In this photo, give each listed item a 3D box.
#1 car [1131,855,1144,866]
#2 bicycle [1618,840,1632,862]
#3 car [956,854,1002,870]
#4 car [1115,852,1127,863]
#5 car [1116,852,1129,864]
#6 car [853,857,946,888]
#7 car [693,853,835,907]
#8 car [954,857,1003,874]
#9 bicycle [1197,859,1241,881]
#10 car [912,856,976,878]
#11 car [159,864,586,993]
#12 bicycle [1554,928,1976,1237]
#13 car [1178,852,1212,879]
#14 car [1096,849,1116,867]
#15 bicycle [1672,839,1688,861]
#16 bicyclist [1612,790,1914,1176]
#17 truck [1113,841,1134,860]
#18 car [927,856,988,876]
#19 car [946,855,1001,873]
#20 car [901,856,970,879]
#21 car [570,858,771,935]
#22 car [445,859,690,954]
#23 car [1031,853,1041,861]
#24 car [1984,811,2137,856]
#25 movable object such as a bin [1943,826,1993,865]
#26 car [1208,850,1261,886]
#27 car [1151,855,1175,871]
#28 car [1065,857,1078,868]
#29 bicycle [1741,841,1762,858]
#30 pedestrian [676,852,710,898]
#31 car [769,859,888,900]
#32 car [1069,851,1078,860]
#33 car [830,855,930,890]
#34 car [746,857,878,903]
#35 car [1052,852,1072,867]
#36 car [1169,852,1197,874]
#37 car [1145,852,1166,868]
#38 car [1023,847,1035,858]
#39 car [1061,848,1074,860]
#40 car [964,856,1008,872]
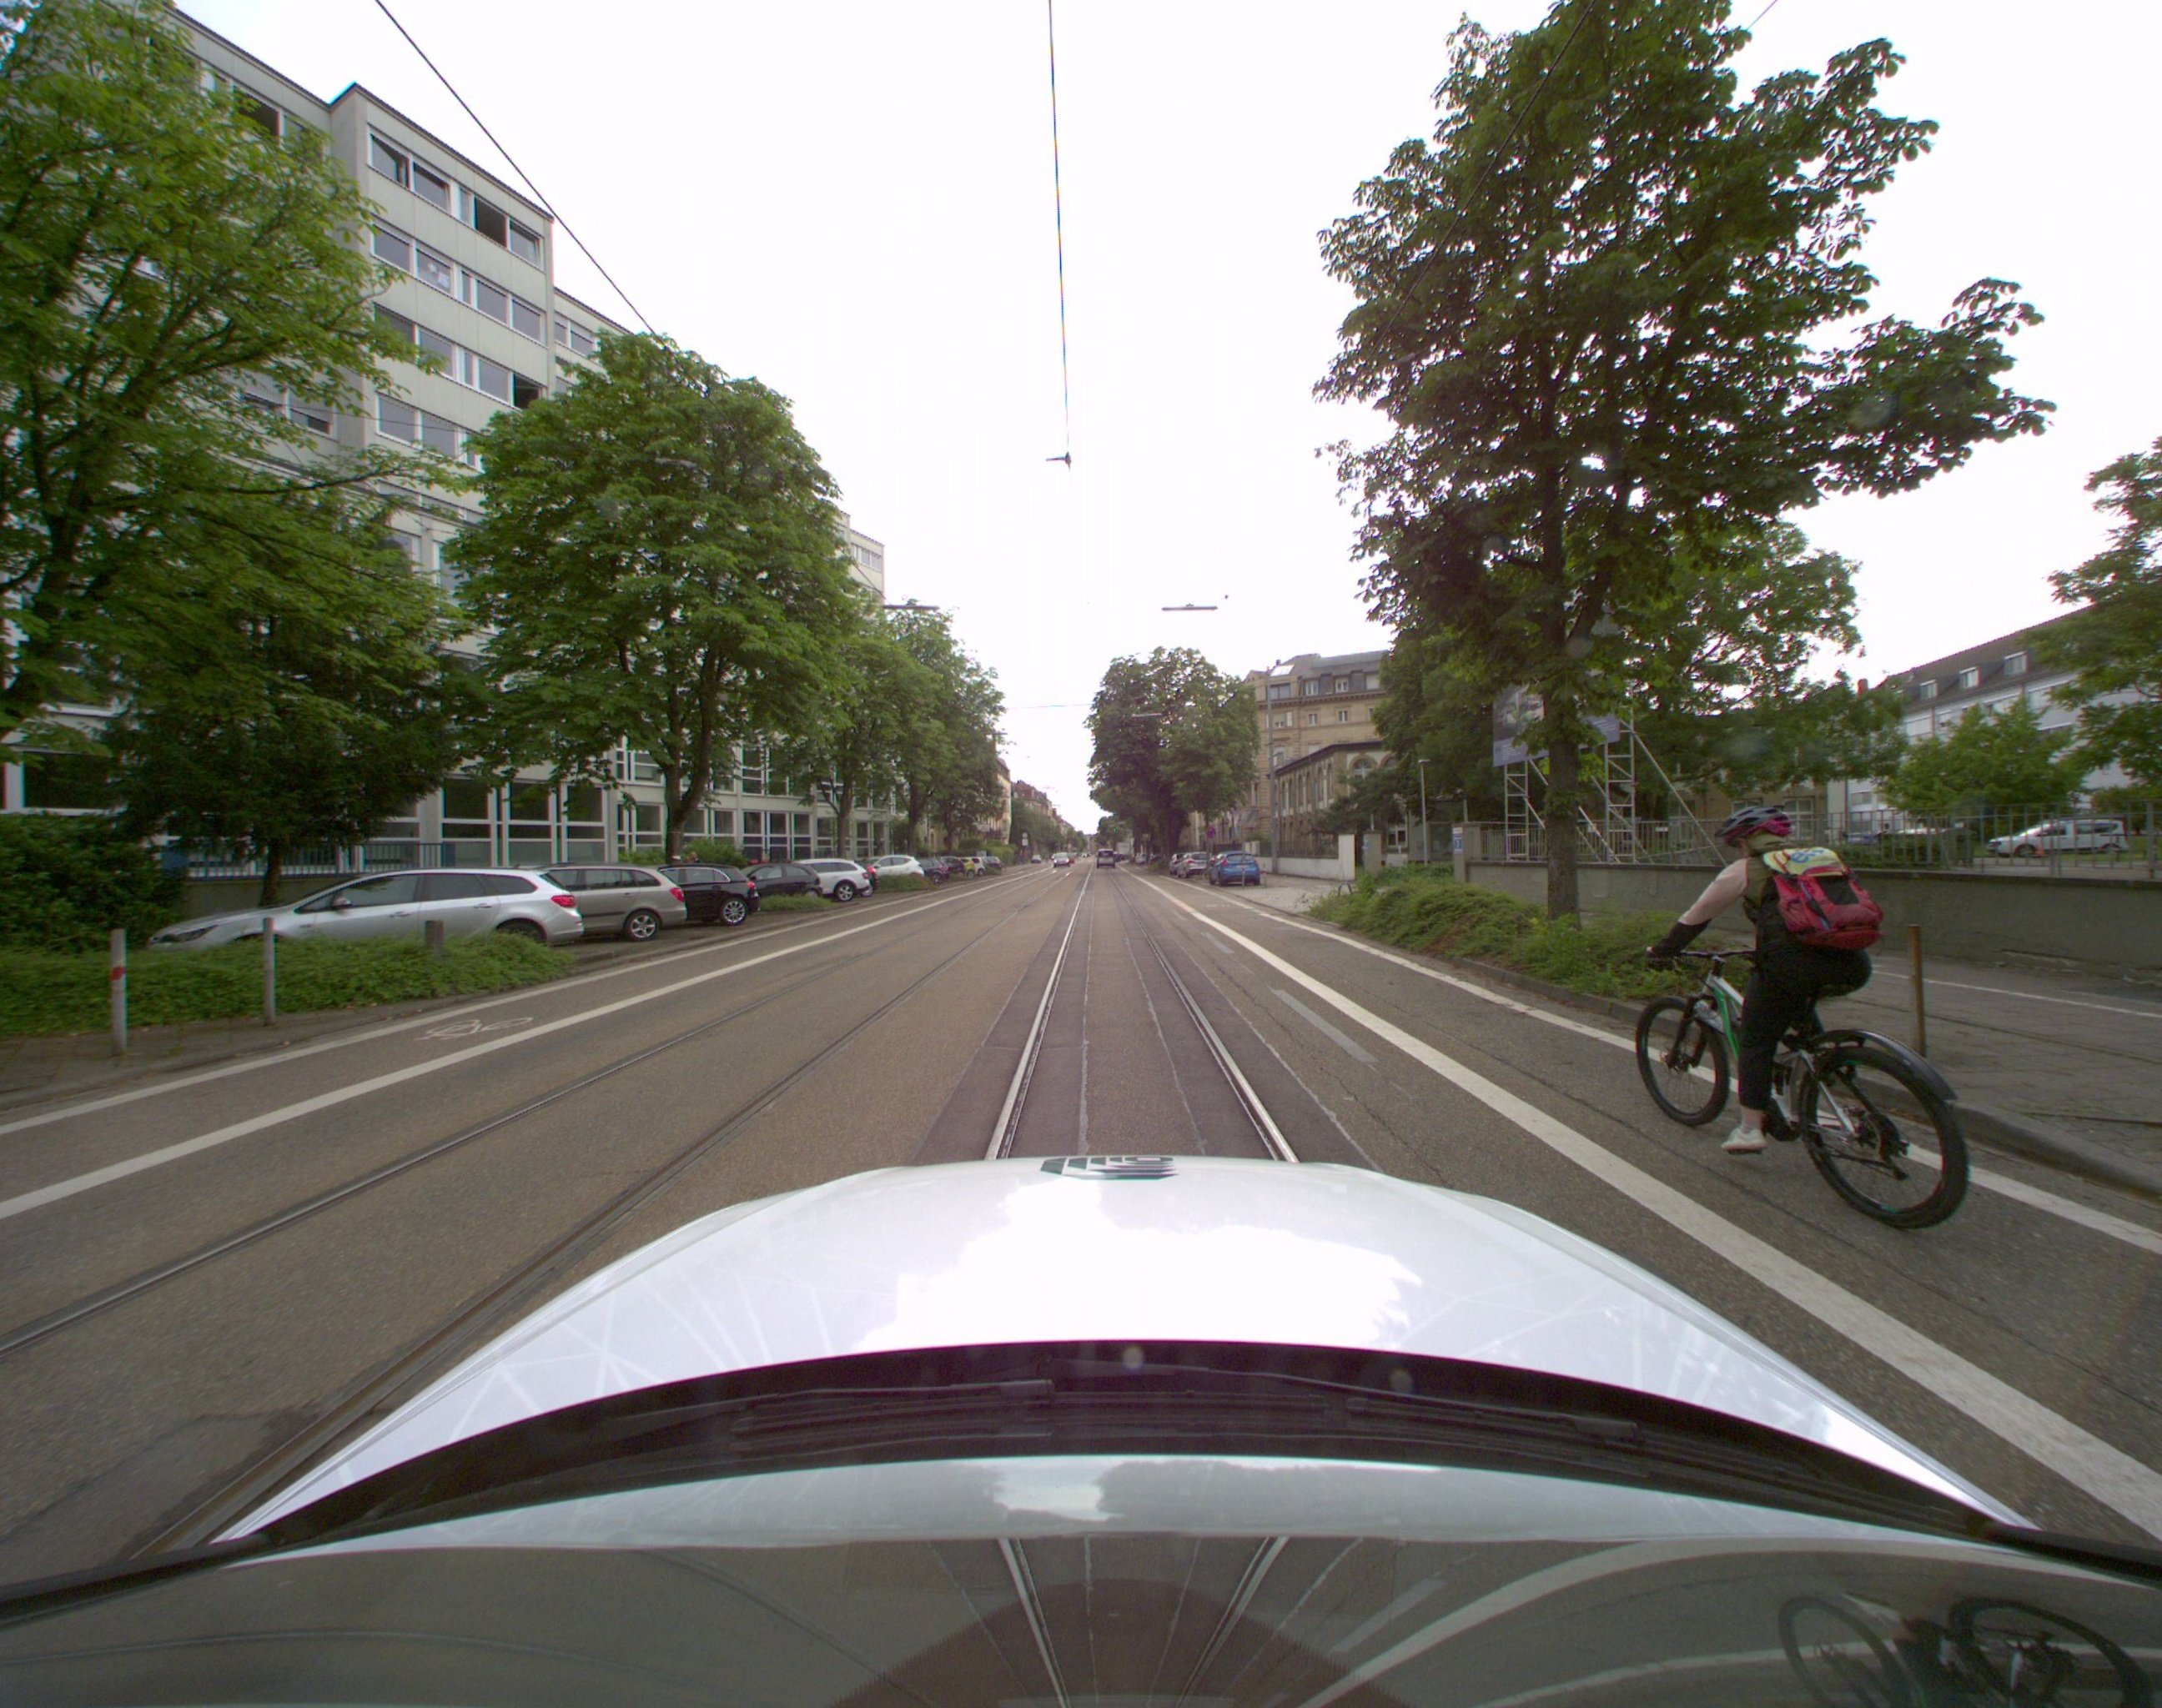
[{"bbox_3d":[7.961,0.918,115.504,1.762,1.399,3.798,-2,0,3],"label":"car"},{"bbox_3d":[29.482,-0.187,44.126,0.611,1.119,2.236,-2,0,34],"label":"bicycle"},{"bbox_3d":[-8.913,0.709,71.113,3.724,1.386,1.687,0,0,-23],"label":"car"},{"bbox_3d":[7.471,0.644,151.005,1.987,2.013,3.999,-1,0,-1],"label":"car"},{"bbox_3d":[6.575,0.610,129.250,1.986,1.794,4.003,-2,0,2],"label":"car"},{"bbox_3d":[-9.158,0.887,41.291,4.371,1.454,1.679,0,0,-45],"label":"car"},{"bbox_3d":[-9.683,0.746,25.007,3.727,1.524,1.679,0,0,-43],"label":"car"},{"bbox_3d":[-8.600,0.935,68.262,3.724,1.386,1.687,0,0,-23],"label":"car"},{"bbox_3d":[6.681,0.777,39.417,2.007,0.957,0.533,-2,0,-3],"label":"bicycle"},{"bbox_3d":[-9.101,0.831,54.429,3.991,1.351,1.679,0,0,-45],"label":"car"},{"bbox_3d":[-9.976,0.905,11.800,1.781,1.465,4.459,-1,-1,42],"label":"car"},{"bbox_3d":[3.200,0.965,4.130,0.487,0.979,2.059,0,0,3],"label":"bicycle"},{"bbox_3d":[6.498,0.610,46.619,1.470,1.481,3.566,-1,0,1],"label":"car"},{"bbox_3d":[2.486,0.369,79.250,1.804,1.708,3.702,-1,0,4],"label":"car"},{"bbox_3d":[31.662,-0.219,43.058,0.611,1.119,2.236,-2,0,34],"label":"bicycle"},{"bbox_3d":[3.171,0.544,3.889,0.655,1.610,0.920,-1,0,2],"label":"bicyclist"},{"bbox_3d":[9.335,-0.800,180.698,3.798,4.029,10.209,-1,0,-2],"label":"truck"},{"bbox_3d":[-8.708,0.829,57.597,3.991,1.351,1.679,0,0,-45],"label":"car"},{"bbox_3d":[-8.223,0.762,62.669,3.991,1.351,1.679,0,0,-45],"label":"car"},{"bbox_3d":[-9.109,0.808,51.161,3.991,1.351,1.679,0,0,-45],"label":"car"},{"bbox_3d":[-9.189,0.875,18.393,3.727,1.524,1.679,0,0,-43],"label":"car"},{"bbox_3d":[-9.518,0.876,15.266,3.672,1.524,1.554,0,0,-43],"label":"car"},{"bbox_3d":[-7.952,0.511,145.098,1.637,1.354,3.874,-1,0,-2],"label":"car"},{"bbox_3d":[46.730,-0.938,38.992,4.298,2.014,1.865,-1,-1,24],"label":"car"},{"bbox_3d":[34.170,-0.338,31.391,1.042,1.450,1.363,-1,2,36],"label":"movable object such as a bin"},{"bbox_3d":[6.485,0.551,34.664,1.668,1.460,3.433,-1,0,1],"label":"car"},{"bbox_3d":[6.851,0.720,68.292,1.865,1.251,4.004,-2,0,3],"label":"car"},{"bbox_3d":[-1.278,1.242,114.272,1.670,1.522,2.783,-1,0,1],"label":"car"},{"bbox_3d":[34.195,-0.224,41.552,0.611,0.813,1.957,-2,0,34],"label":"bicycle"},{"bbox_3d":[-13.723,0.735,28.823,0.746,1.612,0.738,0,-2,25],"label":"pedestrian"},{"bbox_3d":[-9.619,0.933,31.202,4.047,1.405,1.681,0,0,-37],"label":"car"},{"bbox_3d":[-1.968,0.377,209.321,2.197,2.255,4.001,-2,0,1],"label":"car"},{"bbox_3d":[-9.338,0.816,38.146,1.678,1.556,4.373,0,0,42],"label":"car"},{"bbox_3d":[-9.359,0.863,28.463,4.047,1.484,1.681,0,0,-37],"label":"car"},{"bbox_3d":[-2.073,0.625,89.273,1.893,1.530,3.755,-3,0,2],"label":"car"},{"bbox_3d":[6.717,0.572,53.780,1.470,1.428,3.566,-1,0,1],"label":"car"},{"bbox_3d":[6.957,0.561,76.428,1.783,1.399,3.798,-2,0,3],"label":"car"},{"bbox_3d":[-10.856,-0.381,170.191,2.169,2.207,4.221,-2,0,2],"label":"car"},{"bbox_3d":[-2.785,0.004,165.639,2.195,2.417,4.006,-2,0,5],"label":"car"},{"bbox_3d":[-8.645,0.902,74.306,3.724,1.386,1.687,0,0,-23],"label":"car"}]
